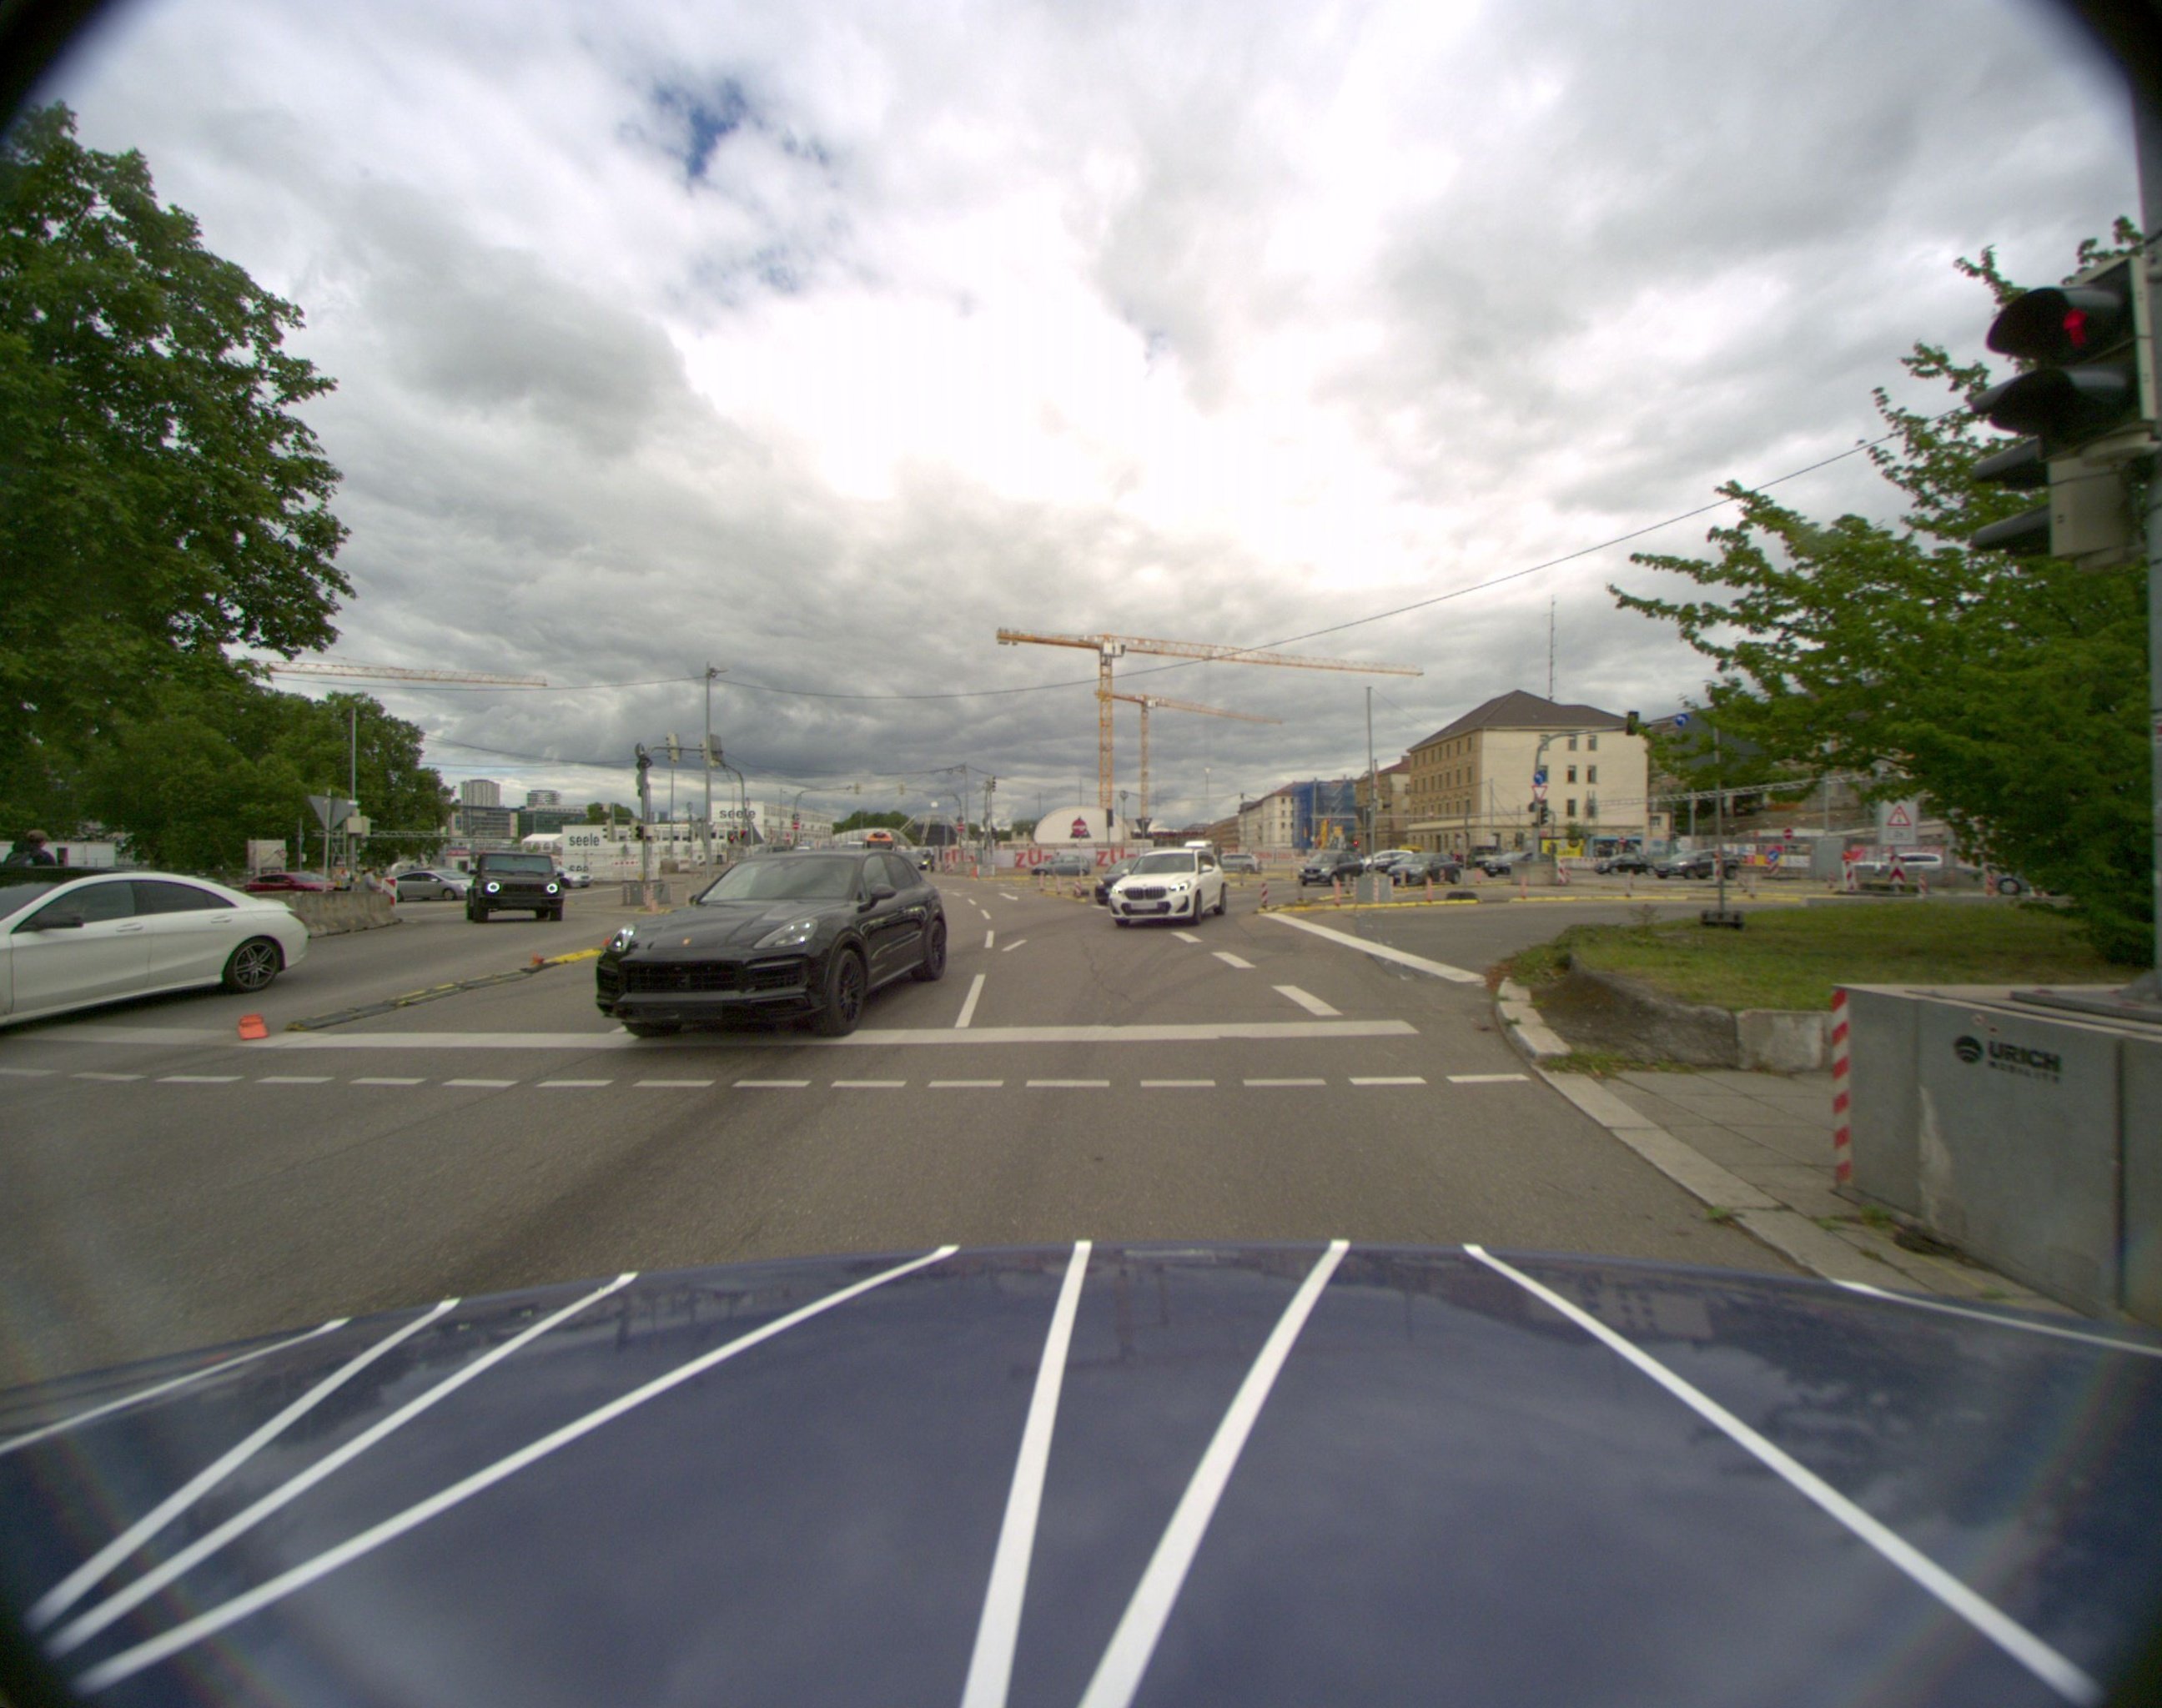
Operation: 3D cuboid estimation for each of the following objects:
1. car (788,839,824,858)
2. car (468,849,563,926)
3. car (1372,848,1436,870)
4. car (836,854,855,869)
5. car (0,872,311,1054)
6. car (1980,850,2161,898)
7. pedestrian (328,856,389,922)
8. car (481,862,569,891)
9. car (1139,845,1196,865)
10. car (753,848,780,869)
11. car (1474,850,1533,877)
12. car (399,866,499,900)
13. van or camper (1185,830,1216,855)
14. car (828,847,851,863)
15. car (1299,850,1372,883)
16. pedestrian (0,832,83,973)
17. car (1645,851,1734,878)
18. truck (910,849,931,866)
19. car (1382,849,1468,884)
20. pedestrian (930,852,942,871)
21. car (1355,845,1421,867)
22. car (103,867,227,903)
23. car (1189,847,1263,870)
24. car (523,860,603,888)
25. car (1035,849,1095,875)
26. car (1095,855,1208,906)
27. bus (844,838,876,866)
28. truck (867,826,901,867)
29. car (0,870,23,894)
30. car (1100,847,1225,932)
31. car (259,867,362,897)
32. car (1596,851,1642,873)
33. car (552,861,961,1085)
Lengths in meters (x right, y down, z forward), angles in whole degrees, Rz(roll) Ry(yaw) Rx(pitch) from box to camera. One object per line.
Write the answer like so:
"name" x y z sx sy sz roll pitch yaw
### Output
"car" -29.202 -0.558 80.785 1.998 2.002 4.166 1 0 4
"car" -15.814 0.899 21.229 1.943 1.926 3.663 2 -2 -38
"car" 22.291 0.328 52.496 3.698 1.381 1.729 1 1 7
"car" -23.062 0.687 74.483 1.653 1.427 3.613 0 1 -15
"car" -10.004 0.941 7.012 1.740 1.427 4.378 2 0 -8
"car" 33.752 0.643 25.770 1.769 1.495 4.132 0 -1 3
"pedestrian" -22.664 1.056 23.882 1.206 2.002 1.191 -1 1 -36
"car" -29.634 1.205 40.544 3.443 1.427 1.691 -1 2 4
"car" 6.228 0.069 55.113 4.082 1.407 1.693 0 0 4
"car" -30.214 0.430 73.198 2.001 2.002 3.994 1 0 -17
"car" 24.525 0.530 44.058 4.113 1.412 1.871 -2 1 -45
"car" -31.066 1.428 37.399 3.444 1.427 1.665 -2 2 2
"van or camper" 11.038 -1.095 69.856 1.995 2.215 4.005 0 2 22
"car" -21.750 0.052 68.420 1.788 1.427 4.062 0 1 -15
"car" 11.657 0.563 34.724 3.578 1.411 1.573 0 1 -41
"pedestrian" -15.586 0.693 11.242 0.624 2.002 0.849 -2 2 -28
"car" 34.356 0.565 42.891 4.107 1.412 1.874 -1 1 -15
"truck" -14.759 0.313 69.752 1.827 1.531 3.756 0 0 -14
"car" 15.398 0.538 33.935 4.113 1.412 1.849 -2 1 -40
"pedestrian" -12.036 0.637 63.012 0.851 1.583 0.622 -1 2 -18
"car" 22.347 0.171 55.411 4.068 1.564 1.693 1 -1 2
"car" -45.895 1.539 38.130 3.996 1.560 1.838 -1 2 1
"car" 9.903 0.291 51.968 4.680 1.570 1.910 0 1 -2
"car" -29.603 1.128 43.489 3.443 1.427 1.694 -1 2 4
"car" -1.133 0.540 51.865 3.953 1.564 1.692 -3 -1 -4
"car" 2.365 0.769 24.456 1.729 1.461 4.428 2 1 33
"bus" -26.551 -0.186 91.761 2.814 3.151 9.393 1 0 -11
"truck" -18.588 -0.727 71.492 2.913 3.654 9.013 0 1 -15
"car" -75.784 1.969 52.319 3.637 1.657 1.946 -1 1 9
"car" 1.886 0.684 16.482 1.809 1.595 3.718 -2 0 20
"car" -37.931 1.372 37.447 3.444 1.427 1.666 -1 0 2
"car" 37.327 0.521 52.686 4.113 1.412 1.871 -2 1 -45
"car" -2.818 0.937 7.993 1.955 1.638 4.610 -2 -1 5
